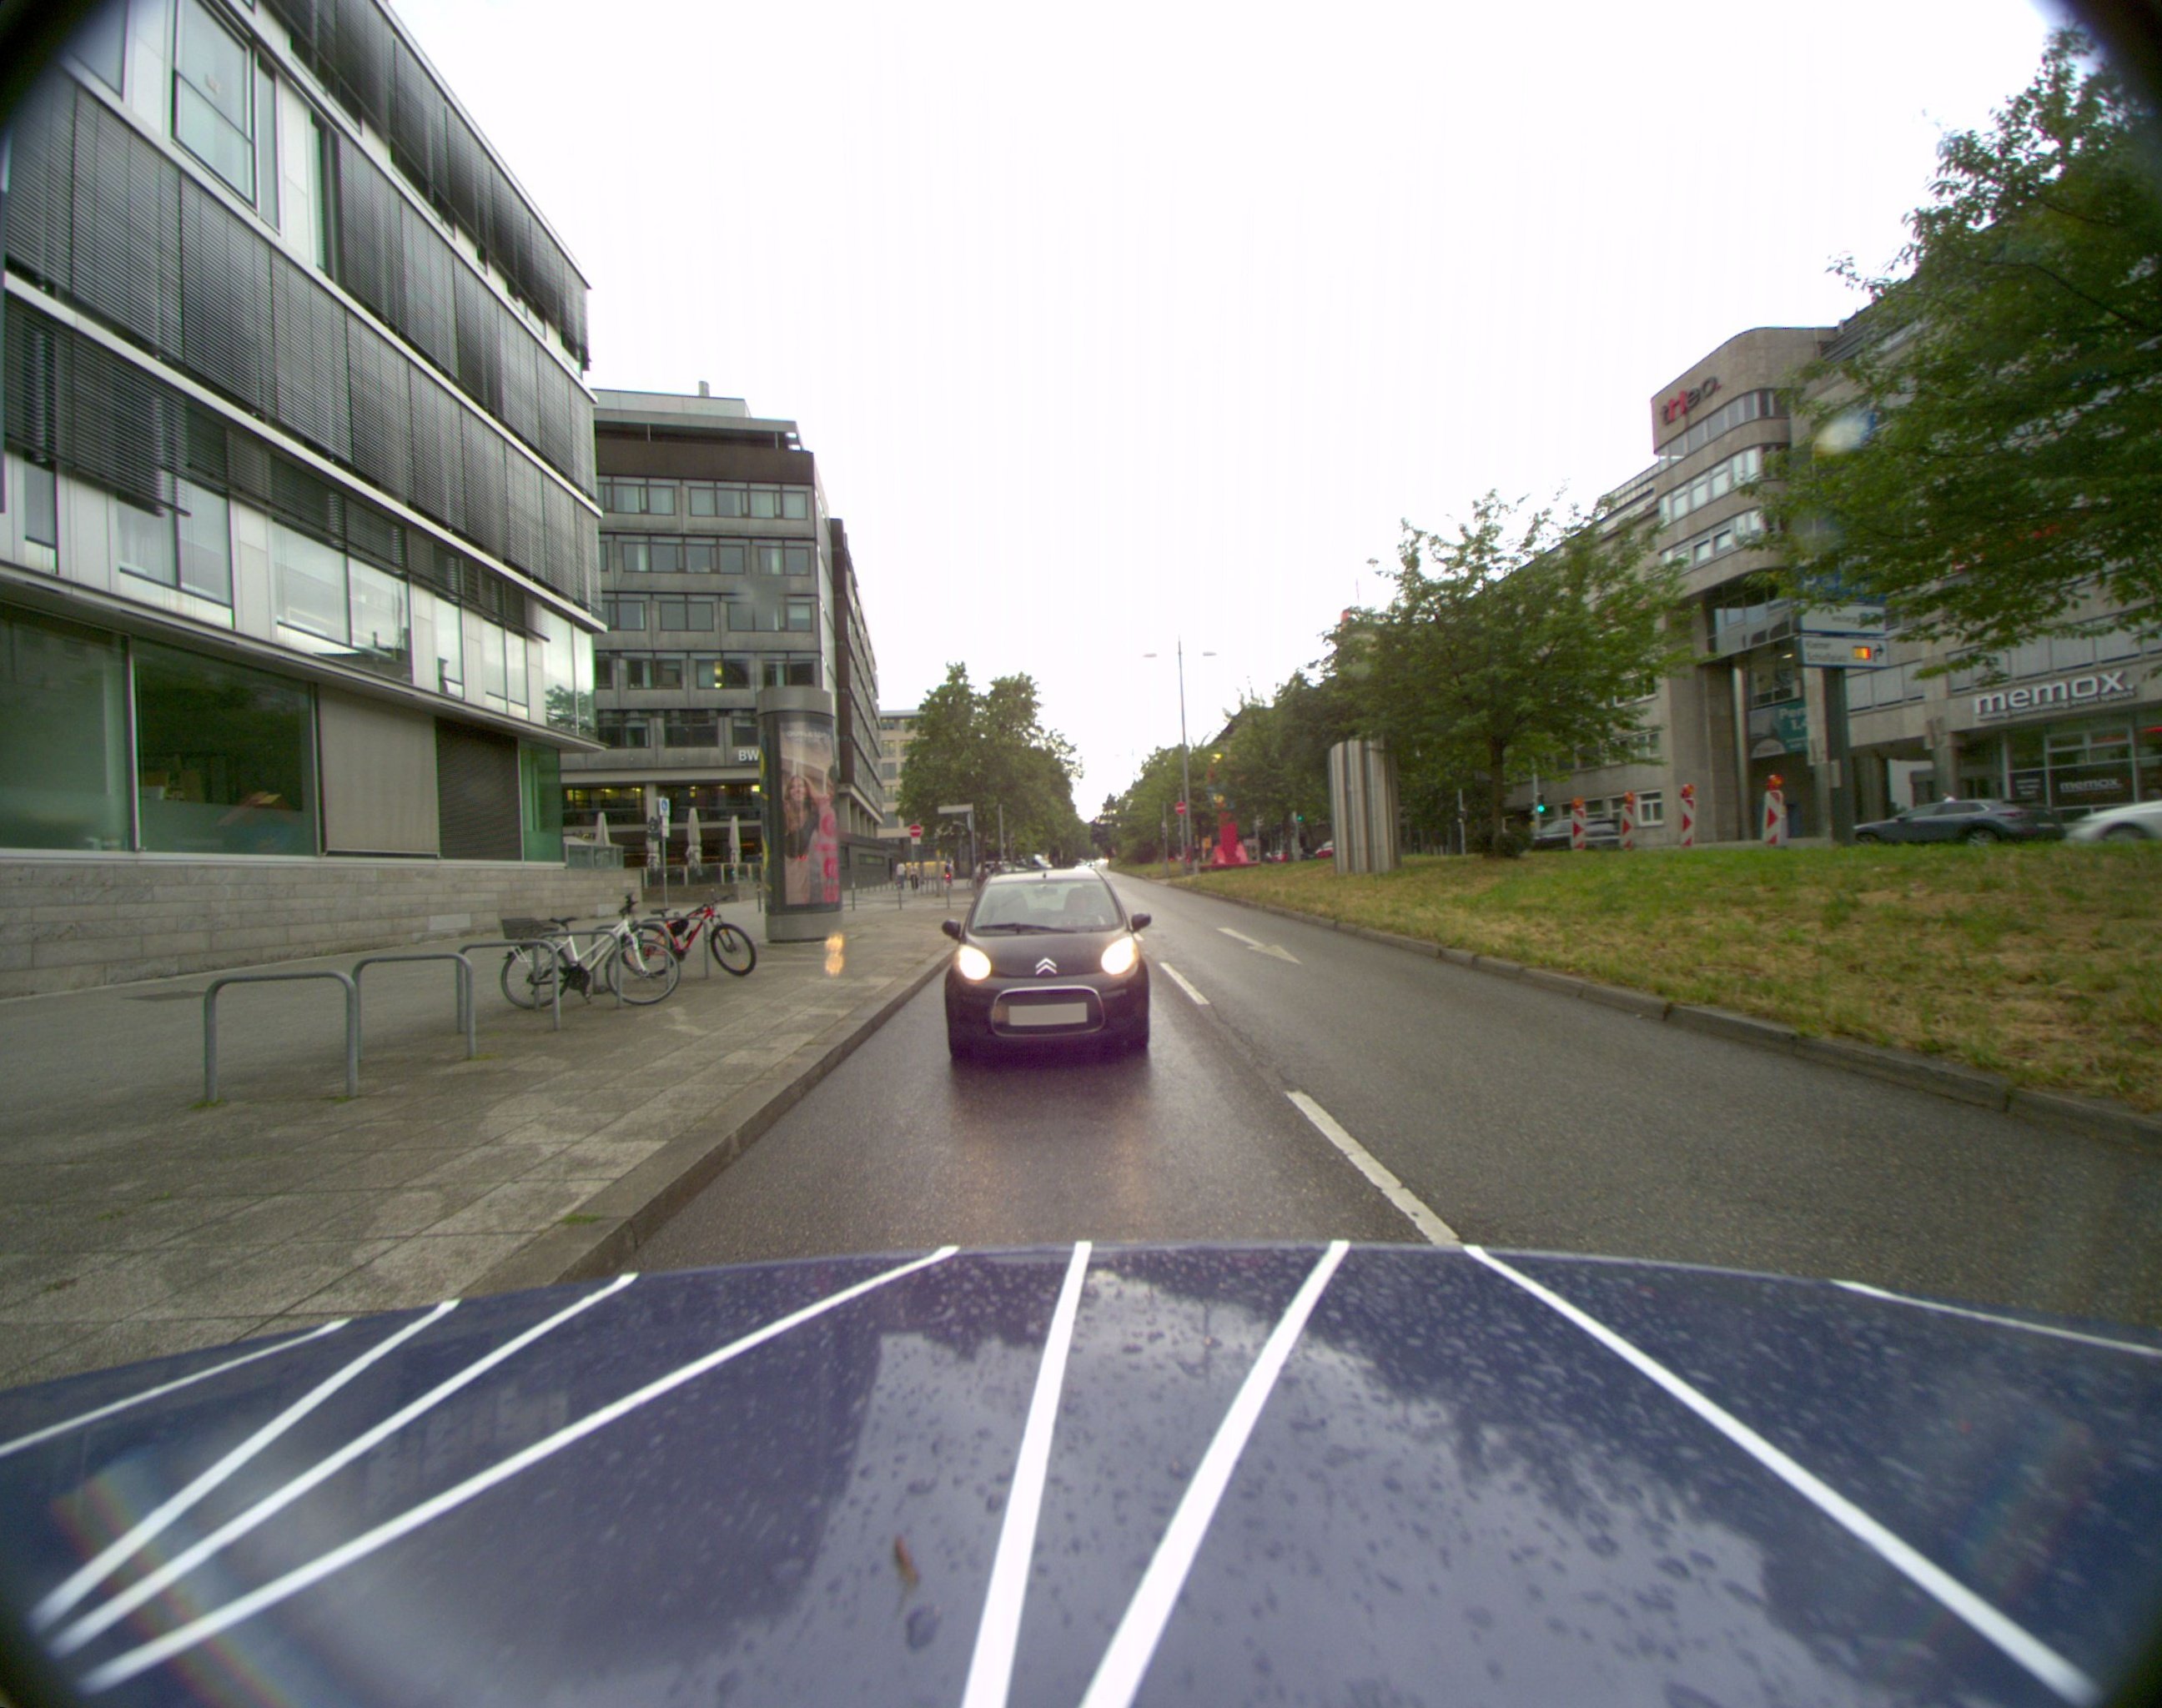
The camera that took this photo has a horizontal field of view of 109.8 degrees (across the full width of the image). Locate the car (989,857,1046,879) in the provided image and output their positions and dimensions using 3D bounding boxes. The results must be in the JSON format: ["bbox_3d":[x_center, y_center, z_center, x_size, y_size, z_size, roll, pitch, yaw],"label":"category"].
[{"bbox_3d":[-5.331,1.190,63.650,4.347,1.528,1.919,-4,0,27],"label":"car"}]

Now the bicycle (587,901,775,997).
[{"bbox_3d":[-5.135,1.212,9.823,1.988,1.097,0.808,-2,0,4],"label":"bicycle"}]

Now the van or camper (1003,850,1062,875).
[{"bbox_3d":[-5.521,1.015,86.376,6.251,2.432,2.319,-4,0,30],"label":"van or camper"}]

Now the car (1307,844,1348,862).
[{"bbox_3d":[21.674,-0.088,66.923,1.867,1.421,4.565,-2,0,-3],"label":"car"}]

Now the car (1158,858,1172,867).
[{"bbox_3d":[13.665,1.463,124.046,1.794,1.406,4.000,-1,-1,-1],"label":"car"}]

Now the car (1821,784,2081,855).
[{"bbox_3d":[24.742,-0.873,21.954,1.867,1.715,4.791,-2,0,-3],"label":"car"}]

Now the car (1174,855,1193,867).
[{"bbox_3d":[13.955,0.967,104.058,1.866,1.421,4.566,-2,0,-1],"label":"car"}]

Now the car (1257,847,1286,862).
[{"bbox_3d":[20.432,0.119,81.651,1.791,1.478,4.574,-2,0,-3],"label":"car"}]

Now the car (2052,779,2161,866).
[{"bbox_3d":[19.190,-0.585,12.123,1.825,1.466,4.190,-3,0,-8],"label":"car"}]

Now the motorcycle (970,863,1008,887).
[{"bbox_3d":[-5.577,1.271,46.067,2.087,1.349,0.677,-3,0,7],"label":"motorcycle"}]

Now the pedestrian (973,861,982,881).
[{"bbox_3d":[-10.209,1.658,74.952,0.721,1.873,0.656,-3,0,-6],"label":"pedestrian"}]

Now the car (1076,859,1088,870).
[{"bbox_3d":[0.111,1.746,128.409,1.791,1.736,4.574,-2,0,-3],"label":"car"}]

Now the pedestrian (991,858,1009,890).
[{"bbox_3d":[-4.316,1.048,40.402,0.528,1.675,0.722,-3,0,27],"label":"pedestrian"}]

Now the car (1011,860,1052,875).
[{"bbox_3d":[-5.384,1.447,82.710,4.052,1.415,1.711,-4,0,29],"label":"car"}]

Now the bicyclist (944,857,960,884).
[{"bbox_3d":[-8.960,1.141,52.847,0.812,1.739,1.079,-6,2,-6],"label":"bicyclist"}]

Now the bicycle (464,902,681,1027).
[{"bbox_3d":[-5.297,1.141,7.971,1.840,1.190,0.660,-1,0,4],"label":"bicycle"}]

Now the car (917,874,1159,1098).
[{"bbox_3d":[-0.363,0.977,7.288,1.634,1.408,3.834,-3,0,-2],"label":"car"}]

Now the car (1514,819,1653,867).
[{"bbox_3d":[17.598,-0.354,26.848,1.873,1.466,3.997,-3,0,-8],"label":"car"}]

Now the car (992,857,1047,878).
[{"bbox_3d":[-5.372,1.200,66.382,4.381,1.528,1.919,-4,0,27],"label":"car"}]

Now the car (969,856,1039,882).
[{"bbox_3d":[-5.642,1.103,55.616,4.792,1.640,1.920,-4,0,30],"label":"car"}]

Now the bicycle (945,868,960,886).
[{"bbox_3d":[-8.888,1.609,52.735,0.777,1.132,1.977,-6,0,-6],"label":"bicycle"}]

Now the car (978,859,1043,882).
[{"bbox_3d":[-5.434,1.255,58.674,4.711,1.465,1.920,-4,0,32],"label":"car"}]

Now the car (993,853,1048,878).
[{"bbox_3d":[-5.536,1.060,69.263,4.507,1.981,1.925,-4,0,29],"label":"car"}]

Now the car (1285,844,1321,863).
[{"bbox_3d":[20.990,-0.014,72.106,1.867,1.612,4.467,-2,0,-3],"label":"car"}]

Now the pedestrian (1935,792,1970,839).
[{"bbox_3d":[34.796,-1.526,30.347,0.721,1.777,0.529,-3,0,-2],"label":"pedestrian"}]

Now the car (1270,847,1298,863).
[{"bbox_3d":[20.570,0.092,77.099,1.690,1.493,3.692,-2,0,-3],"label":"car"}]

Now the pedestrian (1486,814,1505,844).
[{"bbox_3d":[23.065,-1.385,42.260,0.607,1.619,0.620,-3,0,1],"label":"pedestrian"}]

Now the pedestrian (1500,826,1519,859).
[{"bbox_3d":[23.306,-0.620,41.328,0.529,1.777,0.721,-3,0,1],"label":"pedestrian"}]

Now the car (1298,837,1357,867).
[{"bbox_3d":[15.559,-0.100,48.201,1.951,1.690,3.997,-3,0,-8],"label":"car"}]

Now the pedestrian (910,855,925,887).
[{"bbox_3d":[-10.700,1.131,49.665,0.853,2.027,0.752,-3,0,-13],"label":"pedestrian"}]

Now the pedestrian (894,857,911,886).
[{"bbox_3d":[-11.626,1.120,49.436,0.803,1.857,0.898,-3,0,0],"label":"pedestrian"}]
